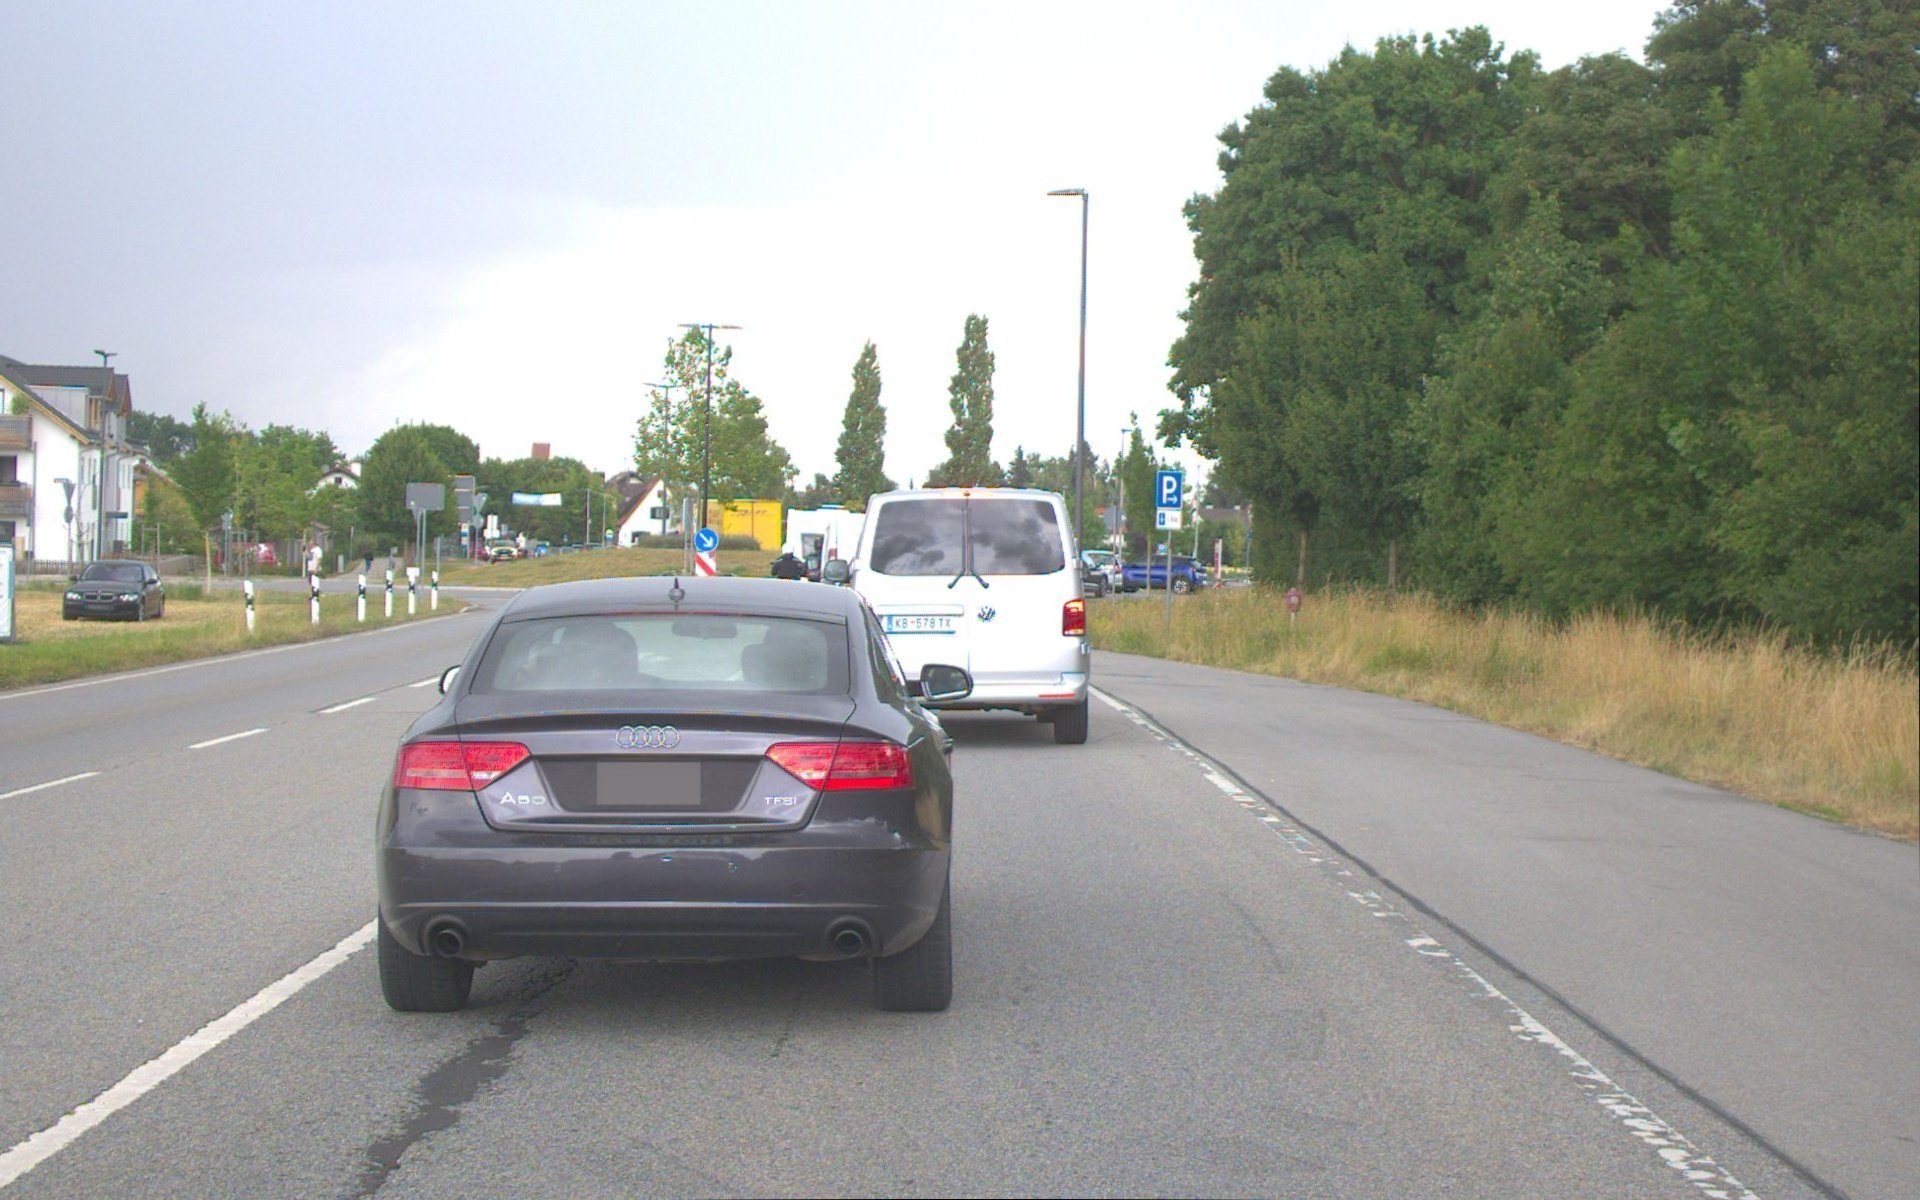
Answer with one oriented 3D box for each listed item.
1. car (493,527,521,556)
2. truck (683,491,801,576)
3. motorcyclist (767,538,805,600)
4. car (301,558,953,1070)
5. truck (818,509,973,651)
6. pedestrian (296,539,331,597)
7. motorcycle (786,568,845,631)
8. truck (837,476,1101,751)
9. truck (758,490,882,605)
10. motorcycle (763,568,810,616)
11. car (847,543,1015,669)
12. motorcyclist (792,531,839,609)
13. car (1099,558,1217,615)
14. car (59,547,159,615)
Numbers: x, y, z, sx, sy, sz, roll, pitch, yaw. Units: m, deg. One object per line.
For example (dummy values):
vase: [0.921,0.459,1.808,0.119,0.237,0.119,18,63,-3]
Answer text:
car: [-33.321,-4.291,252.830,1.993,2.007,4.001,2,1,-7]
truck: [-9.818,-3.005,153.520,3.575,3.566,9.960,2,1,-13]
motorcyclist: [-3.823,-0.682,75.504,0.785,1.352,0.854,1,1,-2]
car: [-0.981,0.596,12.030,1.875,1.449,4.177,0,1,0]
truck: [-0.917,-0.320,52.232,2.194,2.007,5.085,1,1,0]
pedestrian: [-17.969,-0.885,95.569,0.701,1.580,0.657,1,1,17]
motorcycle: [-2.591,-0.020,61.836,0.920,1.090,2.188,1,1,1]
truck: [0.078,0.059,27.645,1.904,1.991,4.628,1,1,0]
truck: [-3.570,-1.313,86.513,2.626,2.728,5.868,2,1,-7]
motorcycle: [-3.795,-0.187,75.484,0.944,1.016,2.284,1,1,-1]
car: [-0.366,0.049,43.169,1.993,1.480,4.000,1,1,-1]
motorcyclist: [-2.598,-0.541,61.754,0.772,1.379,0.820,1,1,1]
car: [7.468,-0.498,129.670,3.991,2.007,1.998,2,1,20]
car: [-19.556,-0.462,79.132,1.993,1.437,4.001,1,2,-11]
